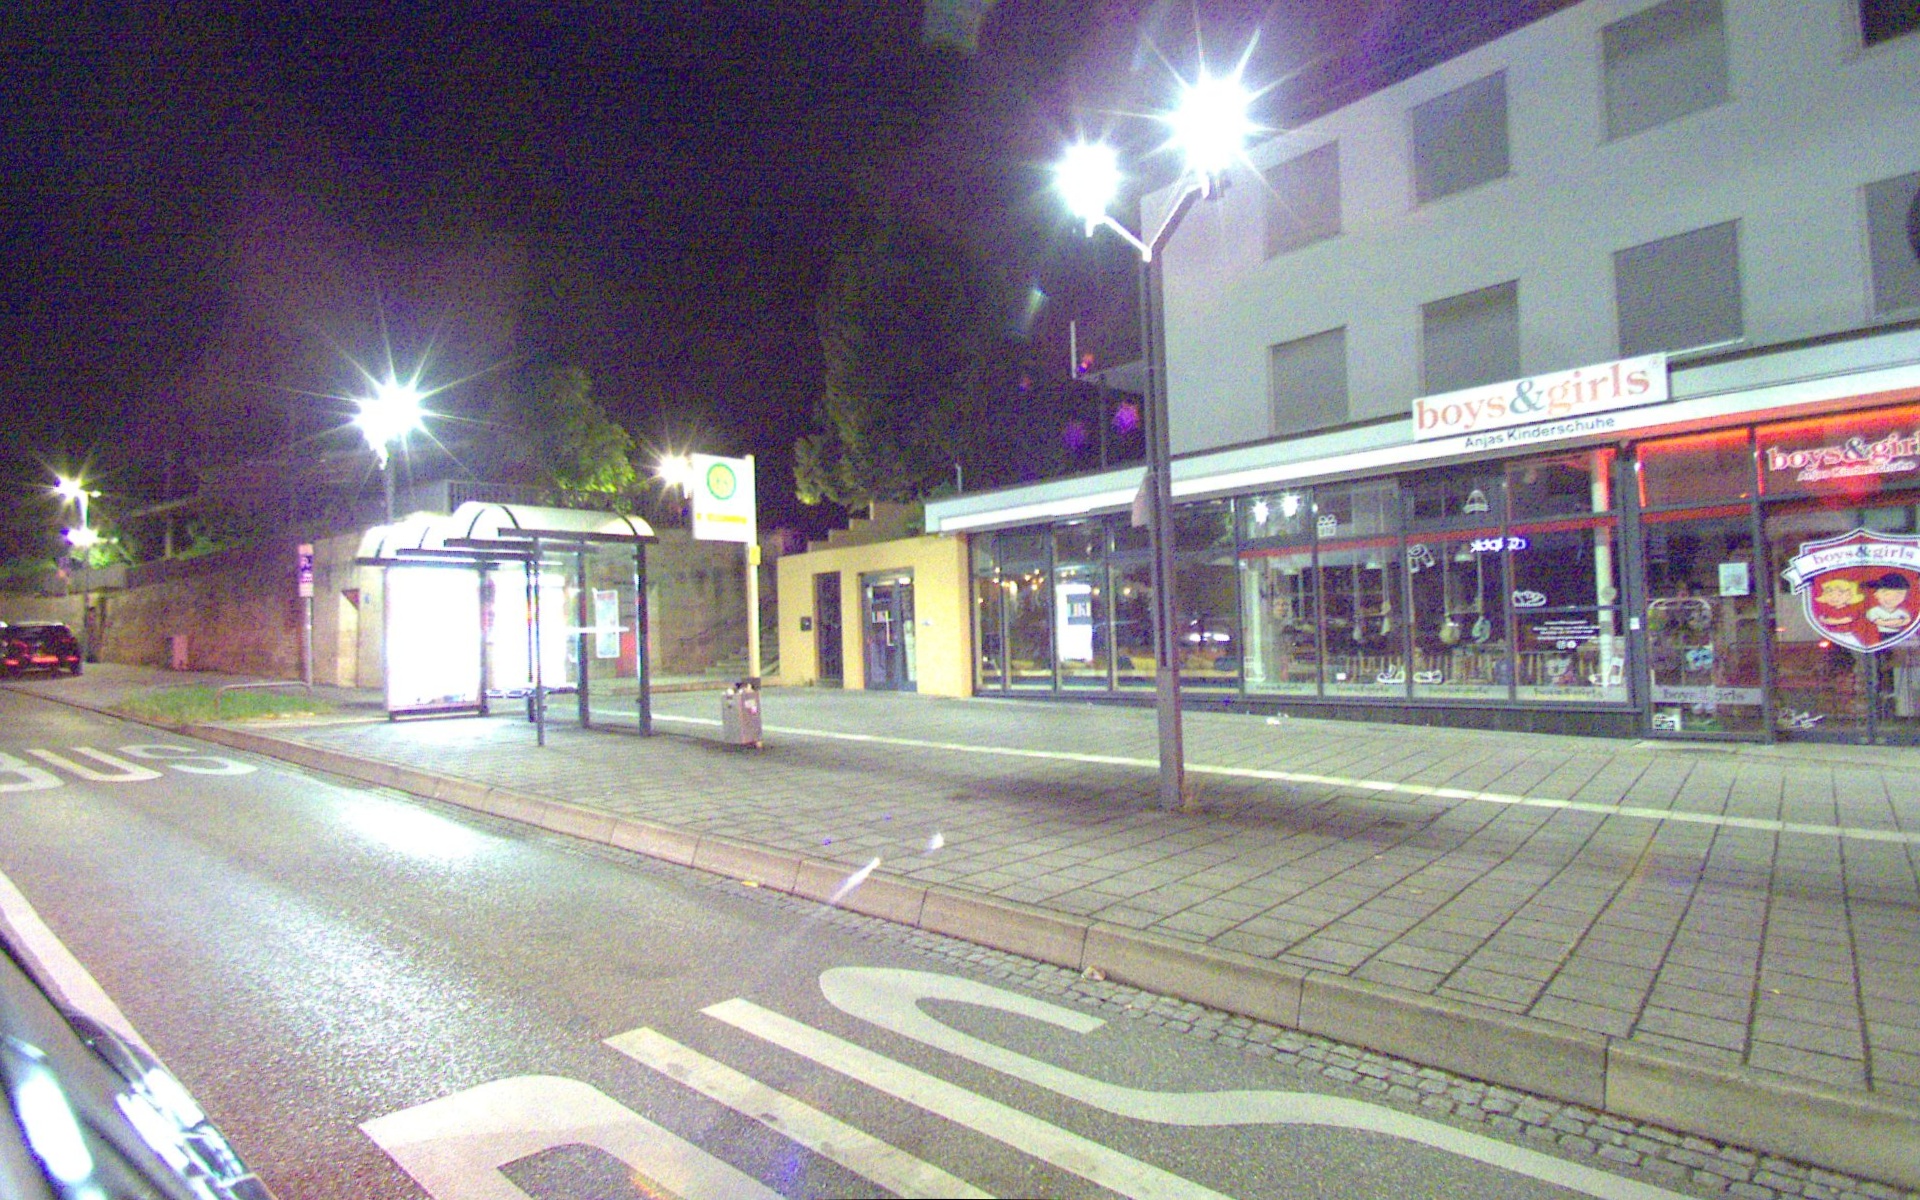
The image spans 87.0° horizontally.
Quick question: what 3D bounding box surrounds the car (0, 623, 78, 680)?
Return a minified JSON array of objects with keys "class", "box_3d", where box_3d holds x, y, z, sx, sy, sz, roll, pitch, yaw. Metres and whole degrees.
[{"class":"car","box_3d":[-26.572,1.408,28.670,4.123,1.447,1.675,-1,0,39]}]
